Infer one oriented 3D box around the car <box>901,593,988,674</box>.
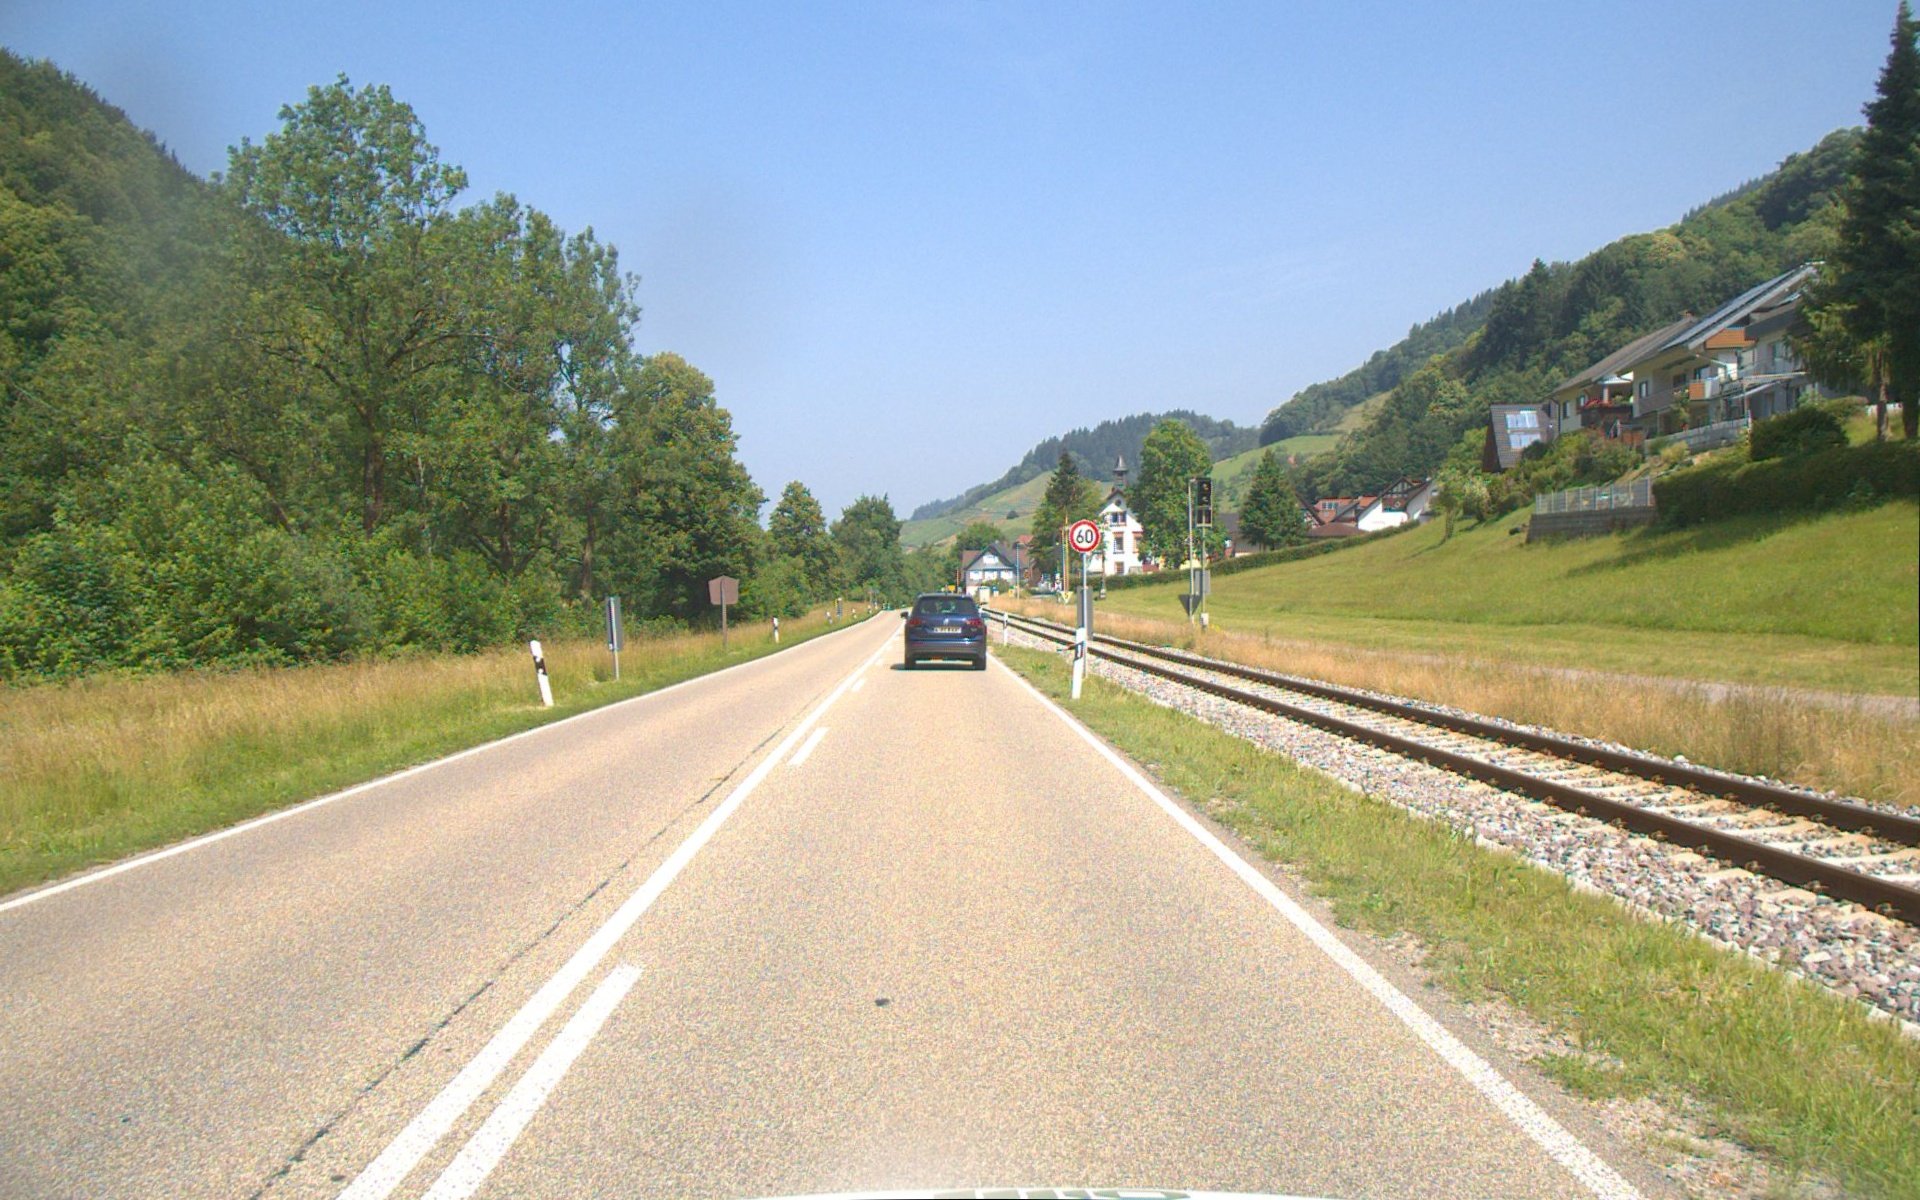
[{"bbox_3d":[-0.350,0.687,36.608,1.815,1.678,4.139,0,0,-1],"label":"car"}]
